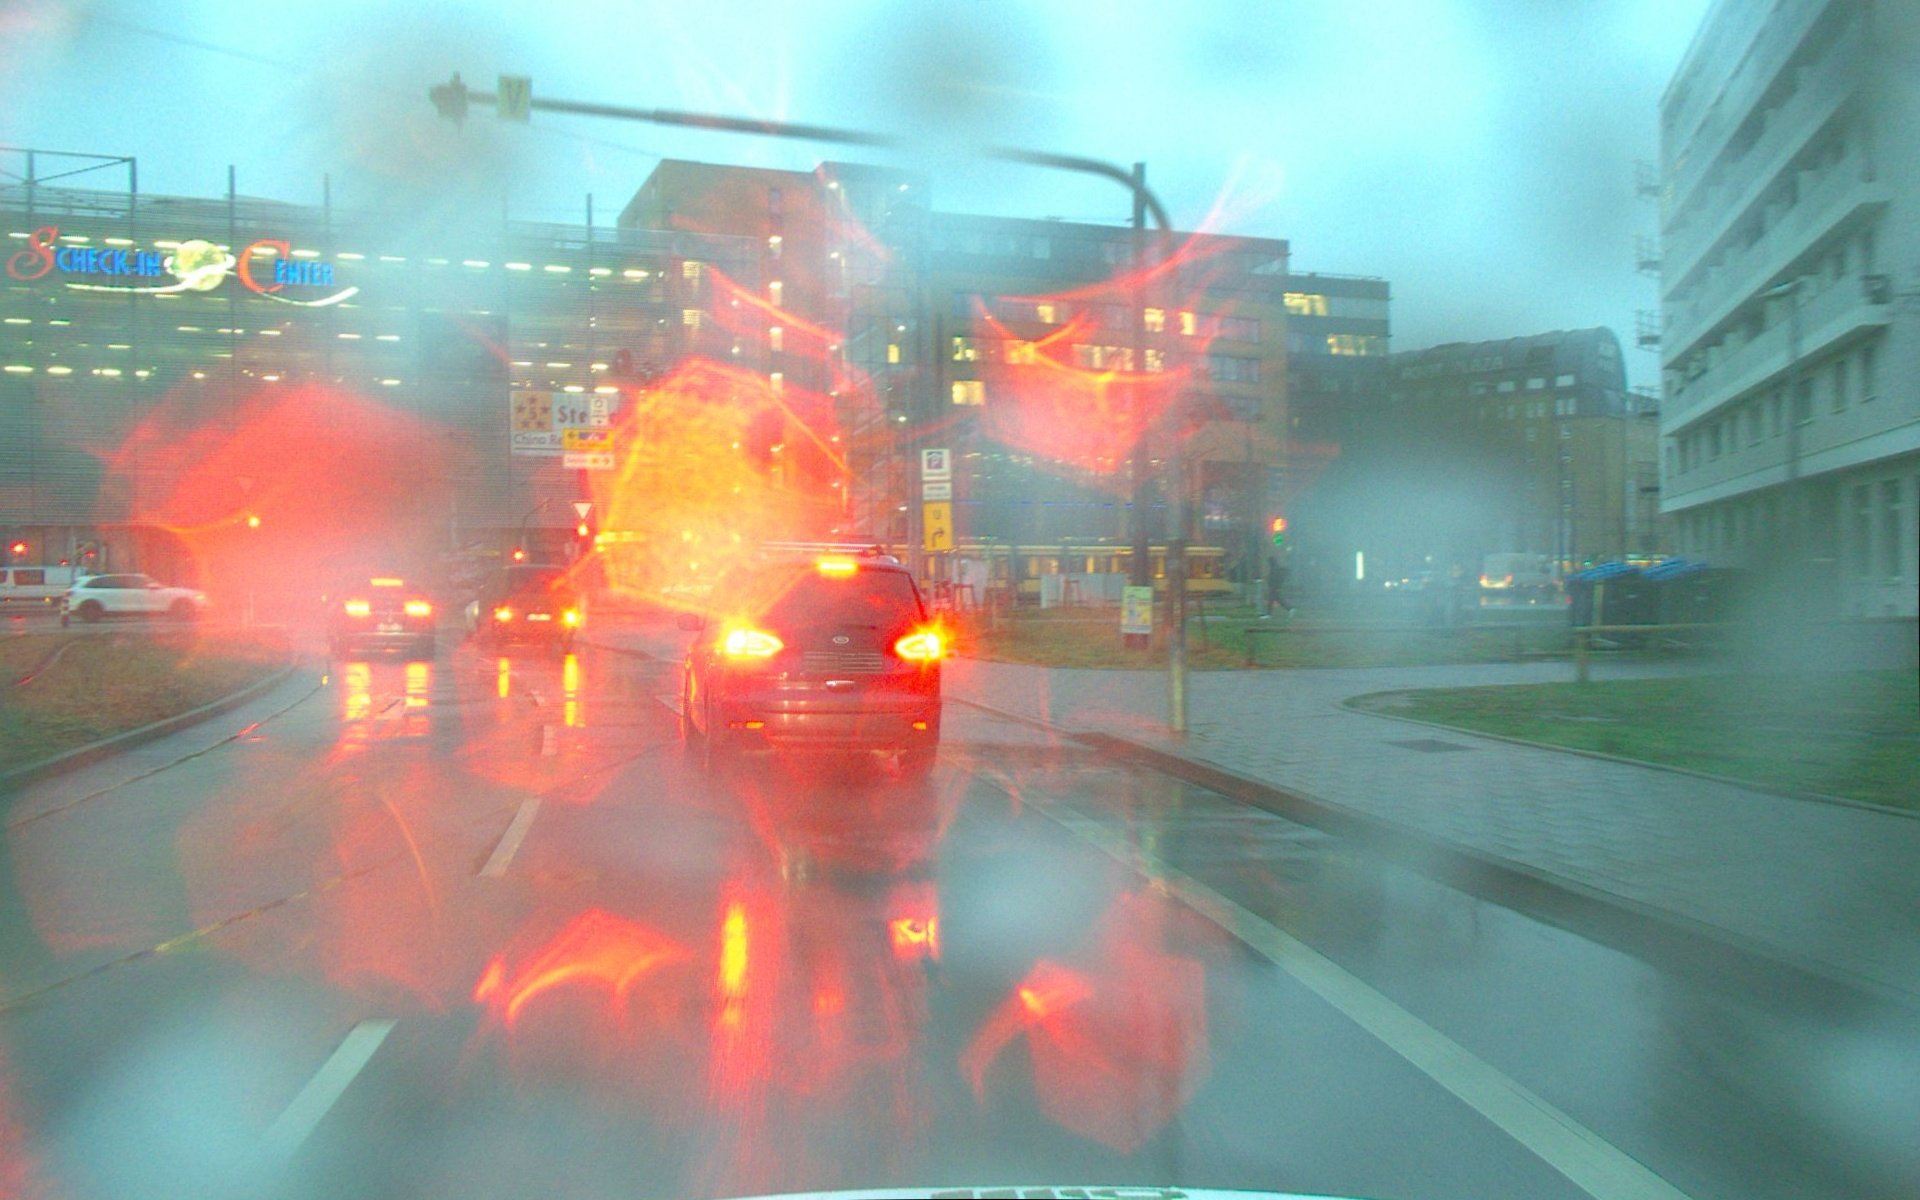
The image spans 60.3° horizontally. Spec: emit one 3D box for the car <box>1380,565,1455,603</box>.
[{"bbox_3d":[26.644,-0.923,96.358,3.943,2.049,1.981,2,0,-29],"label":"car"}]

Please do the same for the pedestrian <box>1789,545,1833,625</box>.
[{"bbox_3d":[19.021,-0.337,36.980,0.661,1.744,0.630,2,0,11],"label":"pedestrian"}]

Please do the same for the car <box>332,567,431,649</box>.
[{"bbox_3d":[-12.097,0.133,34.446,1.729,1.601,3.972,0,0,-23],"label":"car"}]

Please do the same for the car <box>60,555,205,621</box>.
[{"bbox_3d":[-28.273,-0.404,56.584,4.306,2.049,1.981,2,0,-29],"label":"car"}]

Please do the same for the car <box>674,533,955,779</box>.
[{"bbox_3d":[-1.407,0.410,14.226,1.706,1.768,4.231,2,0,-14],"label":"car"}]

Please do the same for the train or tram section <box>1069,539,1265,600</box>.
[{"bbox_3d":[11.964,-1.739,94.390,12.846,3.317,2.309,-1,1,-35],"label":"train or tram section"}]

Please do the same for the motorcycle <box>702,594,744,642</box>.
[{"bbox_3d":[-5.042,0.370,35.284,0.836,0.988,1.579,0,1,-7],"label":"motorcycle"}]

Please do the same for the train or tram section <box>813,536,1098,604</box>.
[{"bbox_3d":[0.095,-1.573,86.180,16.462,3.317,2.309,-1,1,-35],"label":"train or tram section"}]

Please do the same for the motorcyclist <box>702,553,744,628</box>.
[{"bbox_3d":[-5.039,-0.201,35.262,0.852,1.561,1.106,0,0,-7],"label":"motorcyclist"}]

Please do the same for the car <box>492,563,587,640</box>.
[{"bbox_3d":[-9.885,0.035,38.705,1.614,1.726,3.644,1,0,-23],"label":"car"}]

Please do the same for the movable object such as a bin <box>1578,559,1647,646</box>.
[{"bbox_3d":[11.166,0.041,28.337,0.992,1.440,1.225,-1,1,18],"label":"movable object such as a bin"}]

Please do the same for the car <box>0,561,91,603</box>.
[{"bbox_3d":[-47.328,-0.921,84.526,5.013,1.996,1.876,2,0,-25],"label":"car"}]

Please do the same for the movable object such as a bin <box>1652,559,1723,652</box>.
[{"bbox_3d":[12.324,0.091,27.998,1.014,1.516,1.039,2,0,27],"label":"movable object such as a bin"}]

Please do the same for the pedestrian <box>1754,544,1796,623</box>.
[{"bbox_3d":[18.301,-0.367,37.163,0.661,1.744,0.606,2,0,11],"label":"pedestrian"}]

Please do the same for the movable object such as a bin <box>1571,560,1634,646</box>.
[{"bbox_3d":[11.657,0.048,30.060,1.006,1.521,1.329,0,0,19],"label":"movable object such as a bin"}]

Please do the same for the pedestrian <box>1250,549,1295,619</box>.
[{"bbox_3d":[9.111,-0.462,48.232,1.145,1.957,0.899,2,0,4],"label":"pedestrian"}]

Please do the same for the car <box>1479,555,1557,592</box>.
[{"bbox_3d":[34.329,-1.627,101.674,4.888,2.049,1.977,2,0,-34],"label":"car"}]
